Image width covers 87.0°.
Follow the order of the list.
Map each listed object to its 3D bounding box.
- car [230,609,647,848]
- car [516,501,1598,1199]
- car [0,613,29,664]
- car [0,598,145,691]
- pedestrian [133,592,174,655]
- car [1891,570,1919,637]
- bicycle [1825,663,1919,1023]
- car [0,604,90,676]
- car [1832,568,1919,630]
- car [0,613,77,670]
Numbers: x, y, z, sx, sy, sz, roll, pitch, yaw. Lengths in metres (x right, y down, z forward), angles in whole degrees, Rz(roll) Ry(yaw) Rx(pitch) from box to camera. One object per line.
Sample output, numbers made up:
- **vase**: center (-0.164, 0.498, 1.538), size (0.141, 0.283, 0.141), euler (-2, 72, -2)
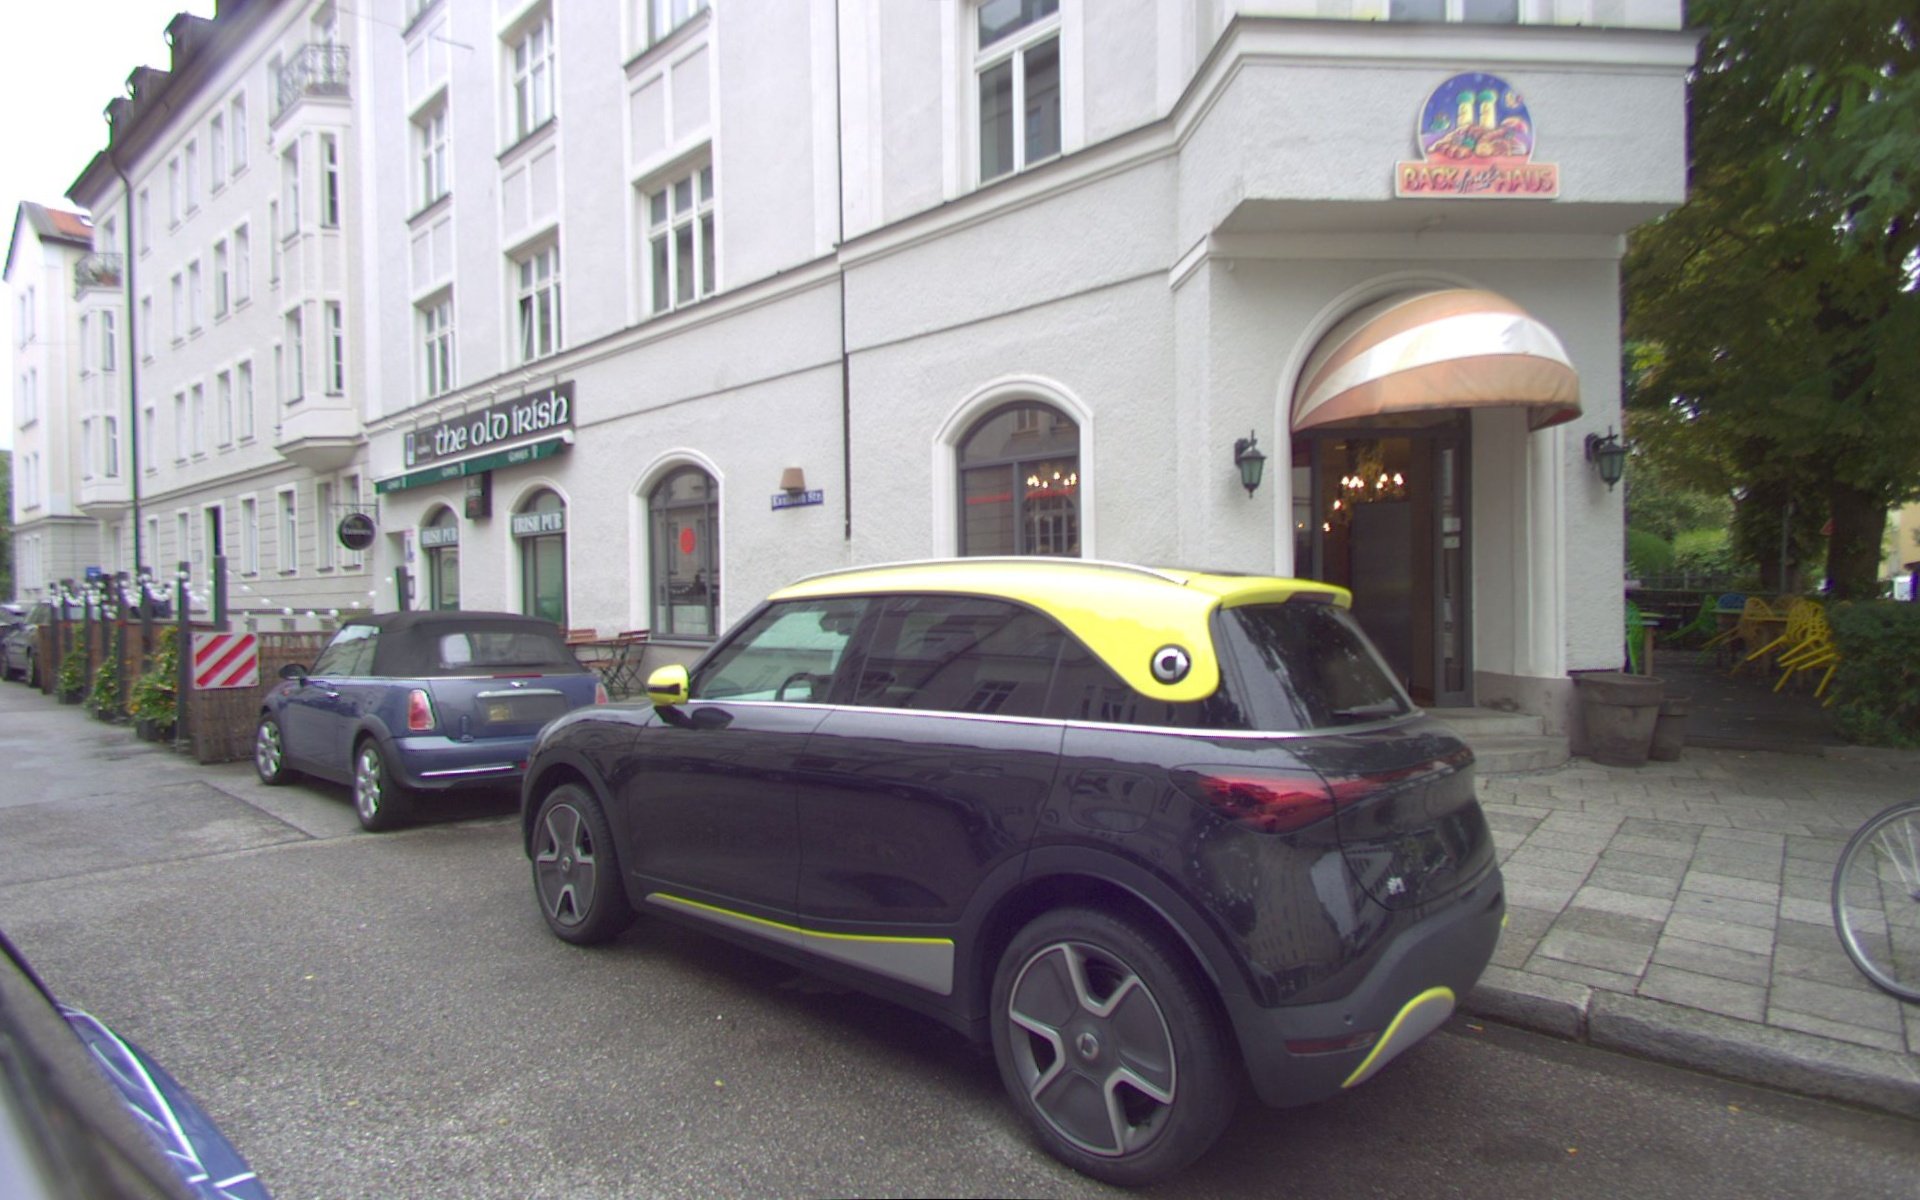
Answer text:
- **car**: center (-4.244, 0.778, 7.939), size (4.001, 1.401, 1.688), euler (-1, -1, 44)
- **car**: center (0.016, 0.631, 3.907), size (3.943, 1.609, 1.659), euler (0, -1, 41)
- **car**: center (-29.286, 1.103, 30.069), size (4.506, 1.430, 1.776), euler (0, -2, 40)
- **car**: center (-18.159, 0.868, 20.436), size (4.270, 1.686, 1.729), euler (-1, -3, 39)
- **pedestrian**: center (-22.627, 0.643, 28.398), size (0.654, 1.719, 0.702), euler (-1, 0, -17)
- **car**: center (25.020, 0.089, 25.607), size (1.911, 1.620, 4.083), euler (2, 1, 40)
- **bicycle**: center (3.751, 0.760, 2.940), size (1.643, 1.053, 0.894), euler (-1, 2, 17)
- **car**: center (-21.545, 0.873, 23.197), size (4.176, 1.498, 1.725), euler (-1, 0, 39)
- **car**: center (28.790, -0.054, 31.556), size (1.841, 1.785, 3.955), euler (-3, -1, 33)
- **car**: center (-24.937, 1.048, 26.512), size (4.434, 1.395, 1.794), euler (-1, -1, 36)
